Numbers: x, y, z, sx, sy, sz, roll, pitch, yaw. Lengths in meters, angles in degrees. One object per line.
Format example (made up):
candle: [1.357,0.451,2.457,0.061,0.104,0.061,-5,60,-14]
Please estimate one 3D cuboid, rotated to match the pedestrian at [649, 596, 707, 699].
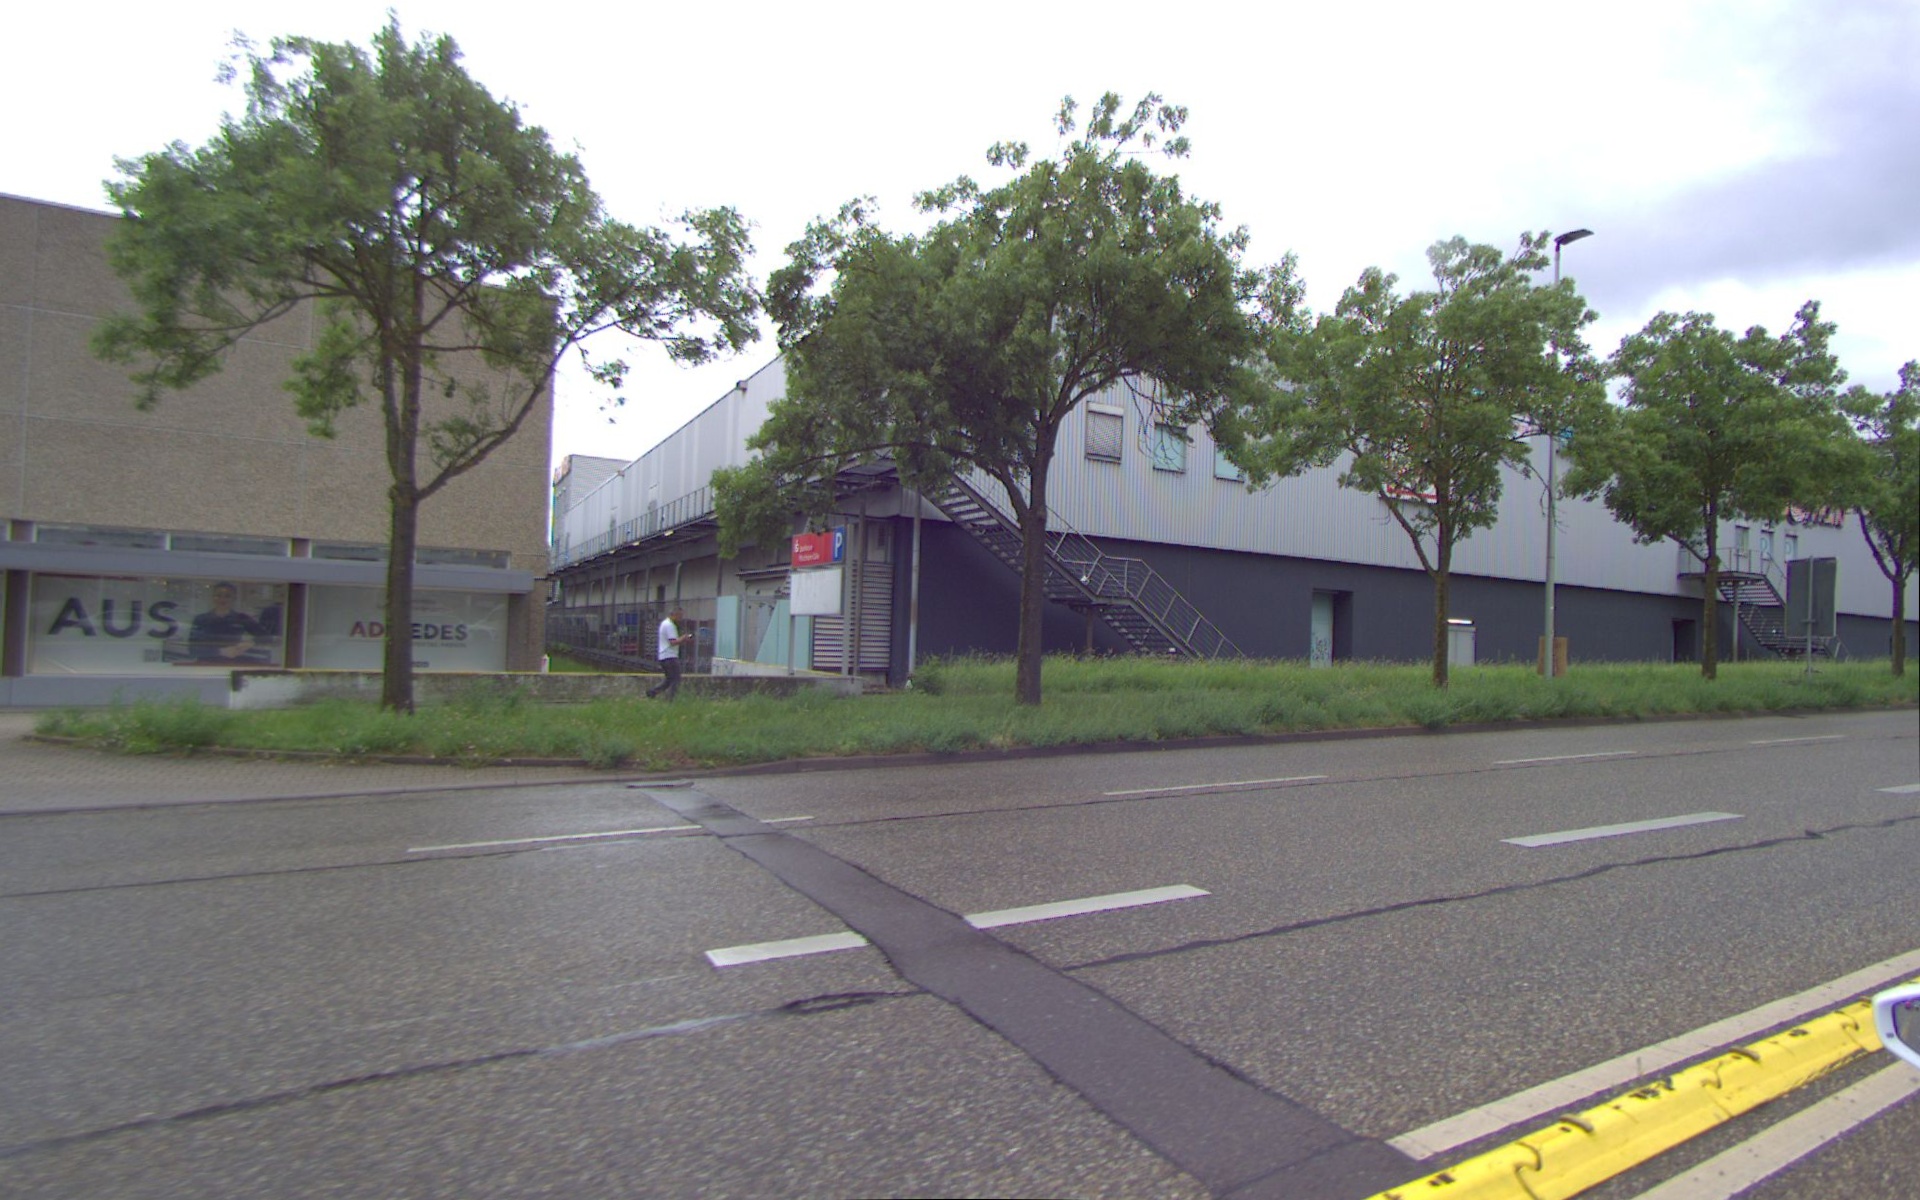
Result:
pedestrian: [-4.528,0.746,16.131,0.757,1.605,0.582,1,1,-28]
